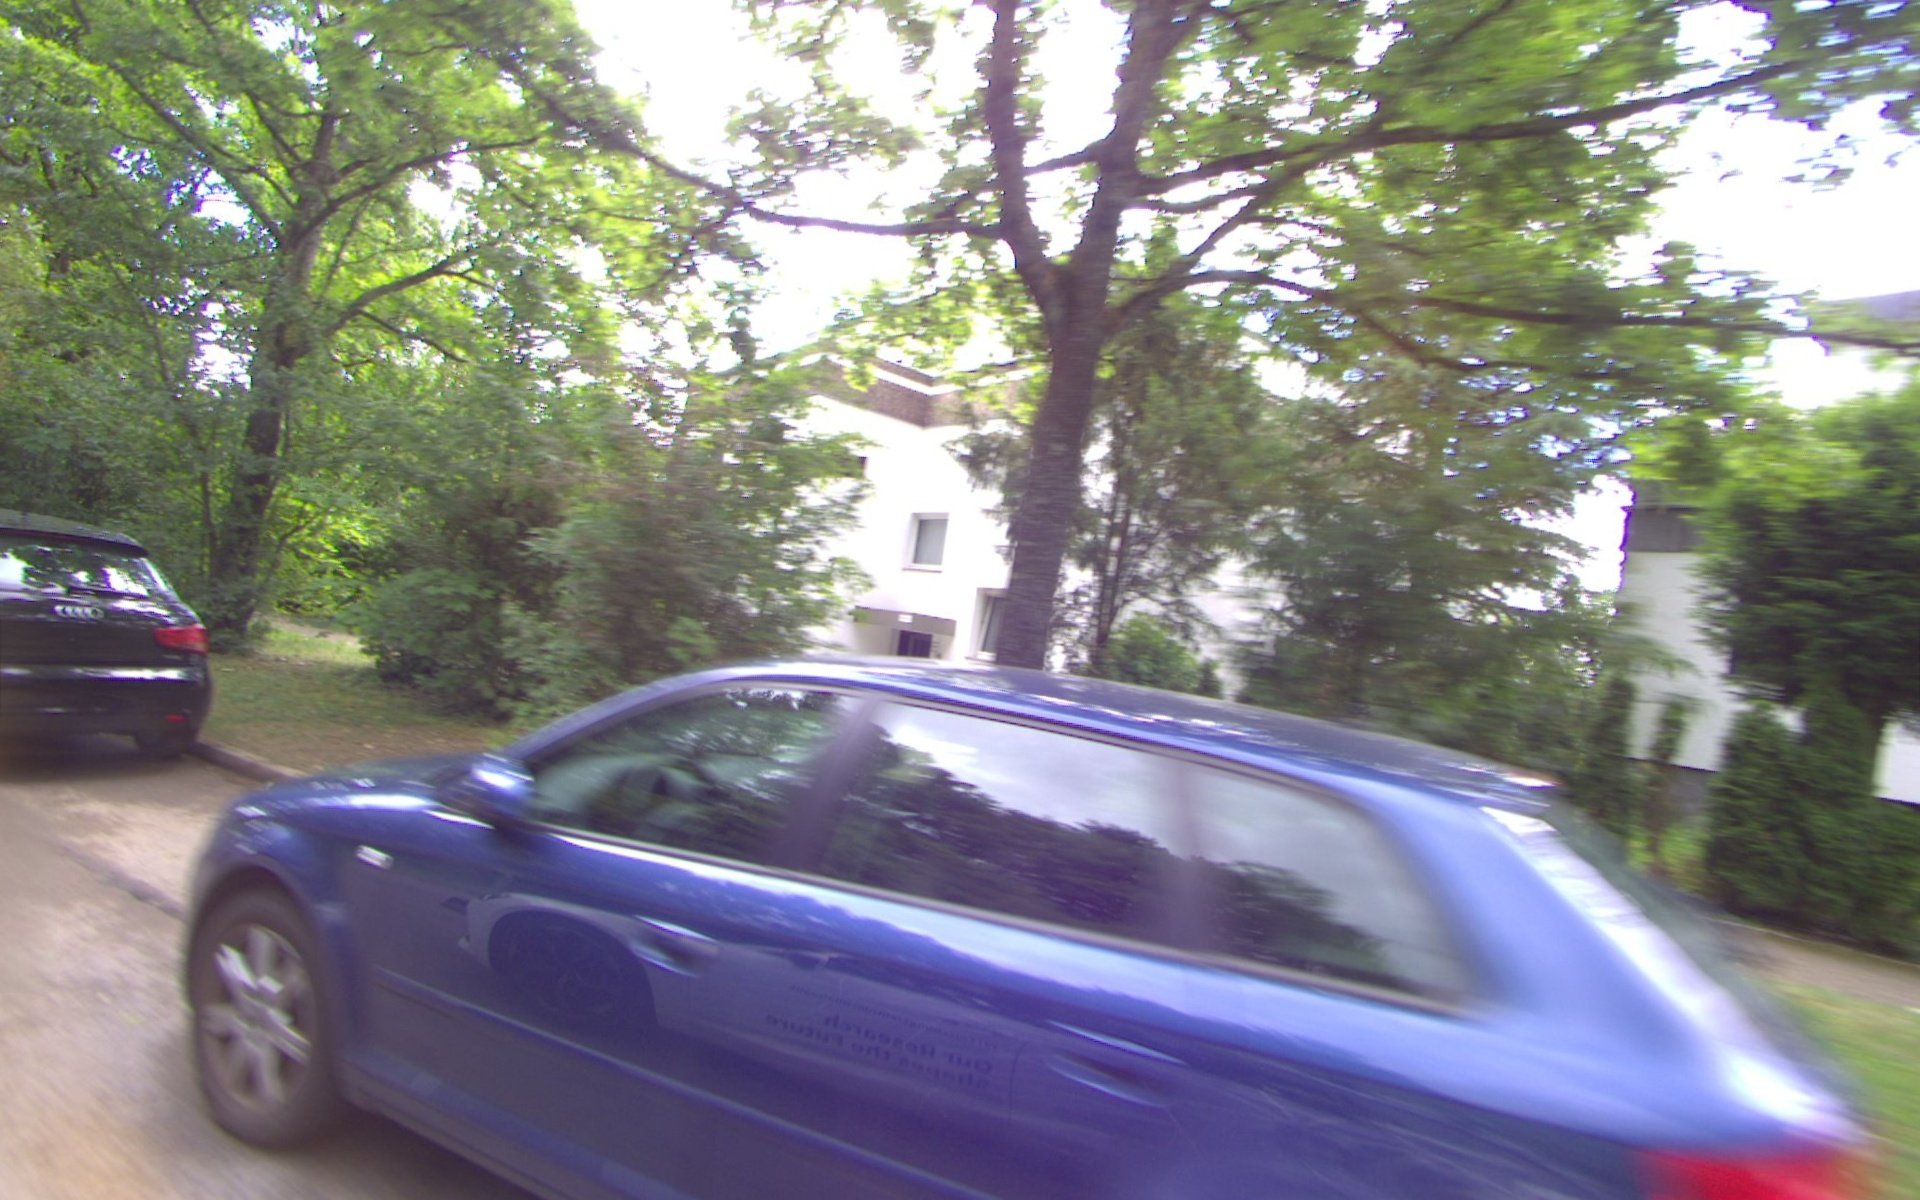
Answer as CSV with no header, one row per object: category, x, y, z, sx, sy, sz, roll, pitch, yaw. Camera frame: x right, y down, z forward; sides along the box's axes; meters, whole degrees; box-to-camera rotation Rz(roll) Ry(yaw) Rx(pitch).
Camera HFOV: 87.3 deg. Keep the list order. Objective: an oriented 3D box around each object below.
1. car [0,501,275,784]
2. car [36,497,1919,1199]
car,-6.506,0.066,6.470,3.849,1.469,1.726,7,-2,28
car,-0.274,0.766,2.806,4.400,1.491,1.853,7,-2,27
